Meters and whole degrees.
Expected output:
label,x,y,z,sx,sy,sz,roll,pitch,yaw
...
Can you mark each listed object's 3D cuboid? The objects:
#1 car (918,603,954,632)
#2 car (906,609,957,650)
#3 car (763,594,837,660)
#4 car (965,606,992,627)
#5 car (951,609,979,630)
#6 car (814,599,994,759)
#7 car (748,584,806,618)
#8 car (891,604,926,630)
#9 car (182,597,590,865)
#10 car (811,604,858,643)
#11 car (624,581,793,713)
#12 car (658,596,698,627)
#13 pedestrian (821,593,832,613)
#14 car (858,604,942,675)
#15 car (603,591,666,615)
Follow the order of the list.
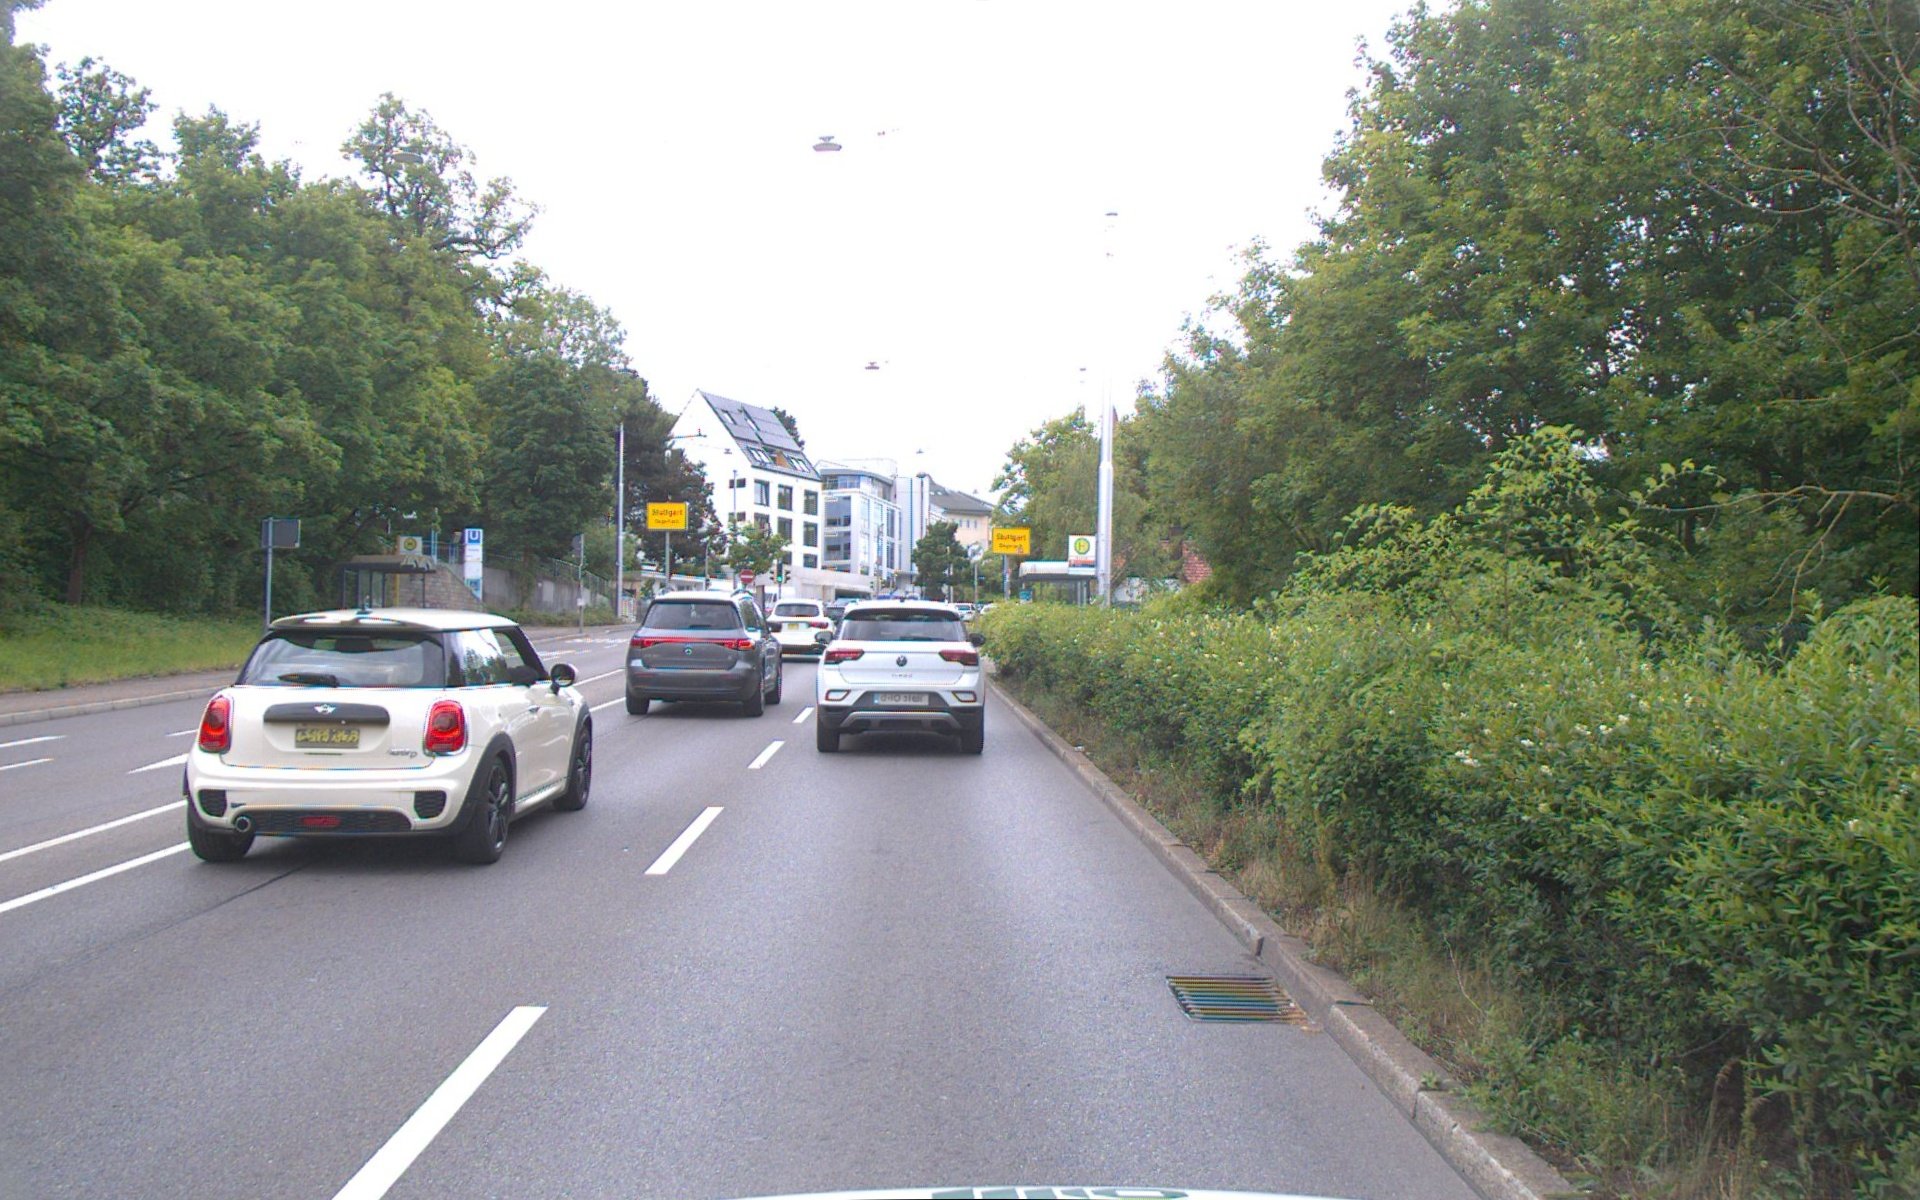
label,x,y,z,sx,sy,sz,roll,pitch,yaw
car,-1.329,0.938,89.790,1.821,1.527,4.053,0,0,-3
car,-1.228,1.220,68.933,1.836,1.527,4.552,4,0,-3
car,-4.304,0.700,44.988,1.821,1.681,4.633,0,0,-3
car,1.364,1.176,120.639,1.819,1.527,4.057,0,0,3
car,0.383,1.450,125.717,1.819,1.527,4.058,0,0,5
car,-0.655,0.787,18.202,1.775,1.566,3.687,0,0,-3
car,-14.707,0.106,133.237,2.184,2.613,7.427,0,0,14
car,-3.110,1.004,100.433,1.819,1.527,4.057,0,0,3
car,-3.464,0.705,10.636,1.596,1.418,3.563,0,0,-4
car,-5.083,0.945,67.555,1.821,1.527,4.053,0,0,-3
car,-3.454,0.616,23.500,1.776,1.681,4.635,0,0,-1
car,-14.929,0.583,87.725,1.695,1.568,4.039,1,0,-5
pedestrian,-11.798,0.254,146.645,0.668,1.669,0.664,2,0,-34
car,-1.407,0.868,37.873,1.821,1.527,4.053,0,0,-3
car,-21.584,0.203,109.713,4.049,1.567,1.593,0,0,-14
